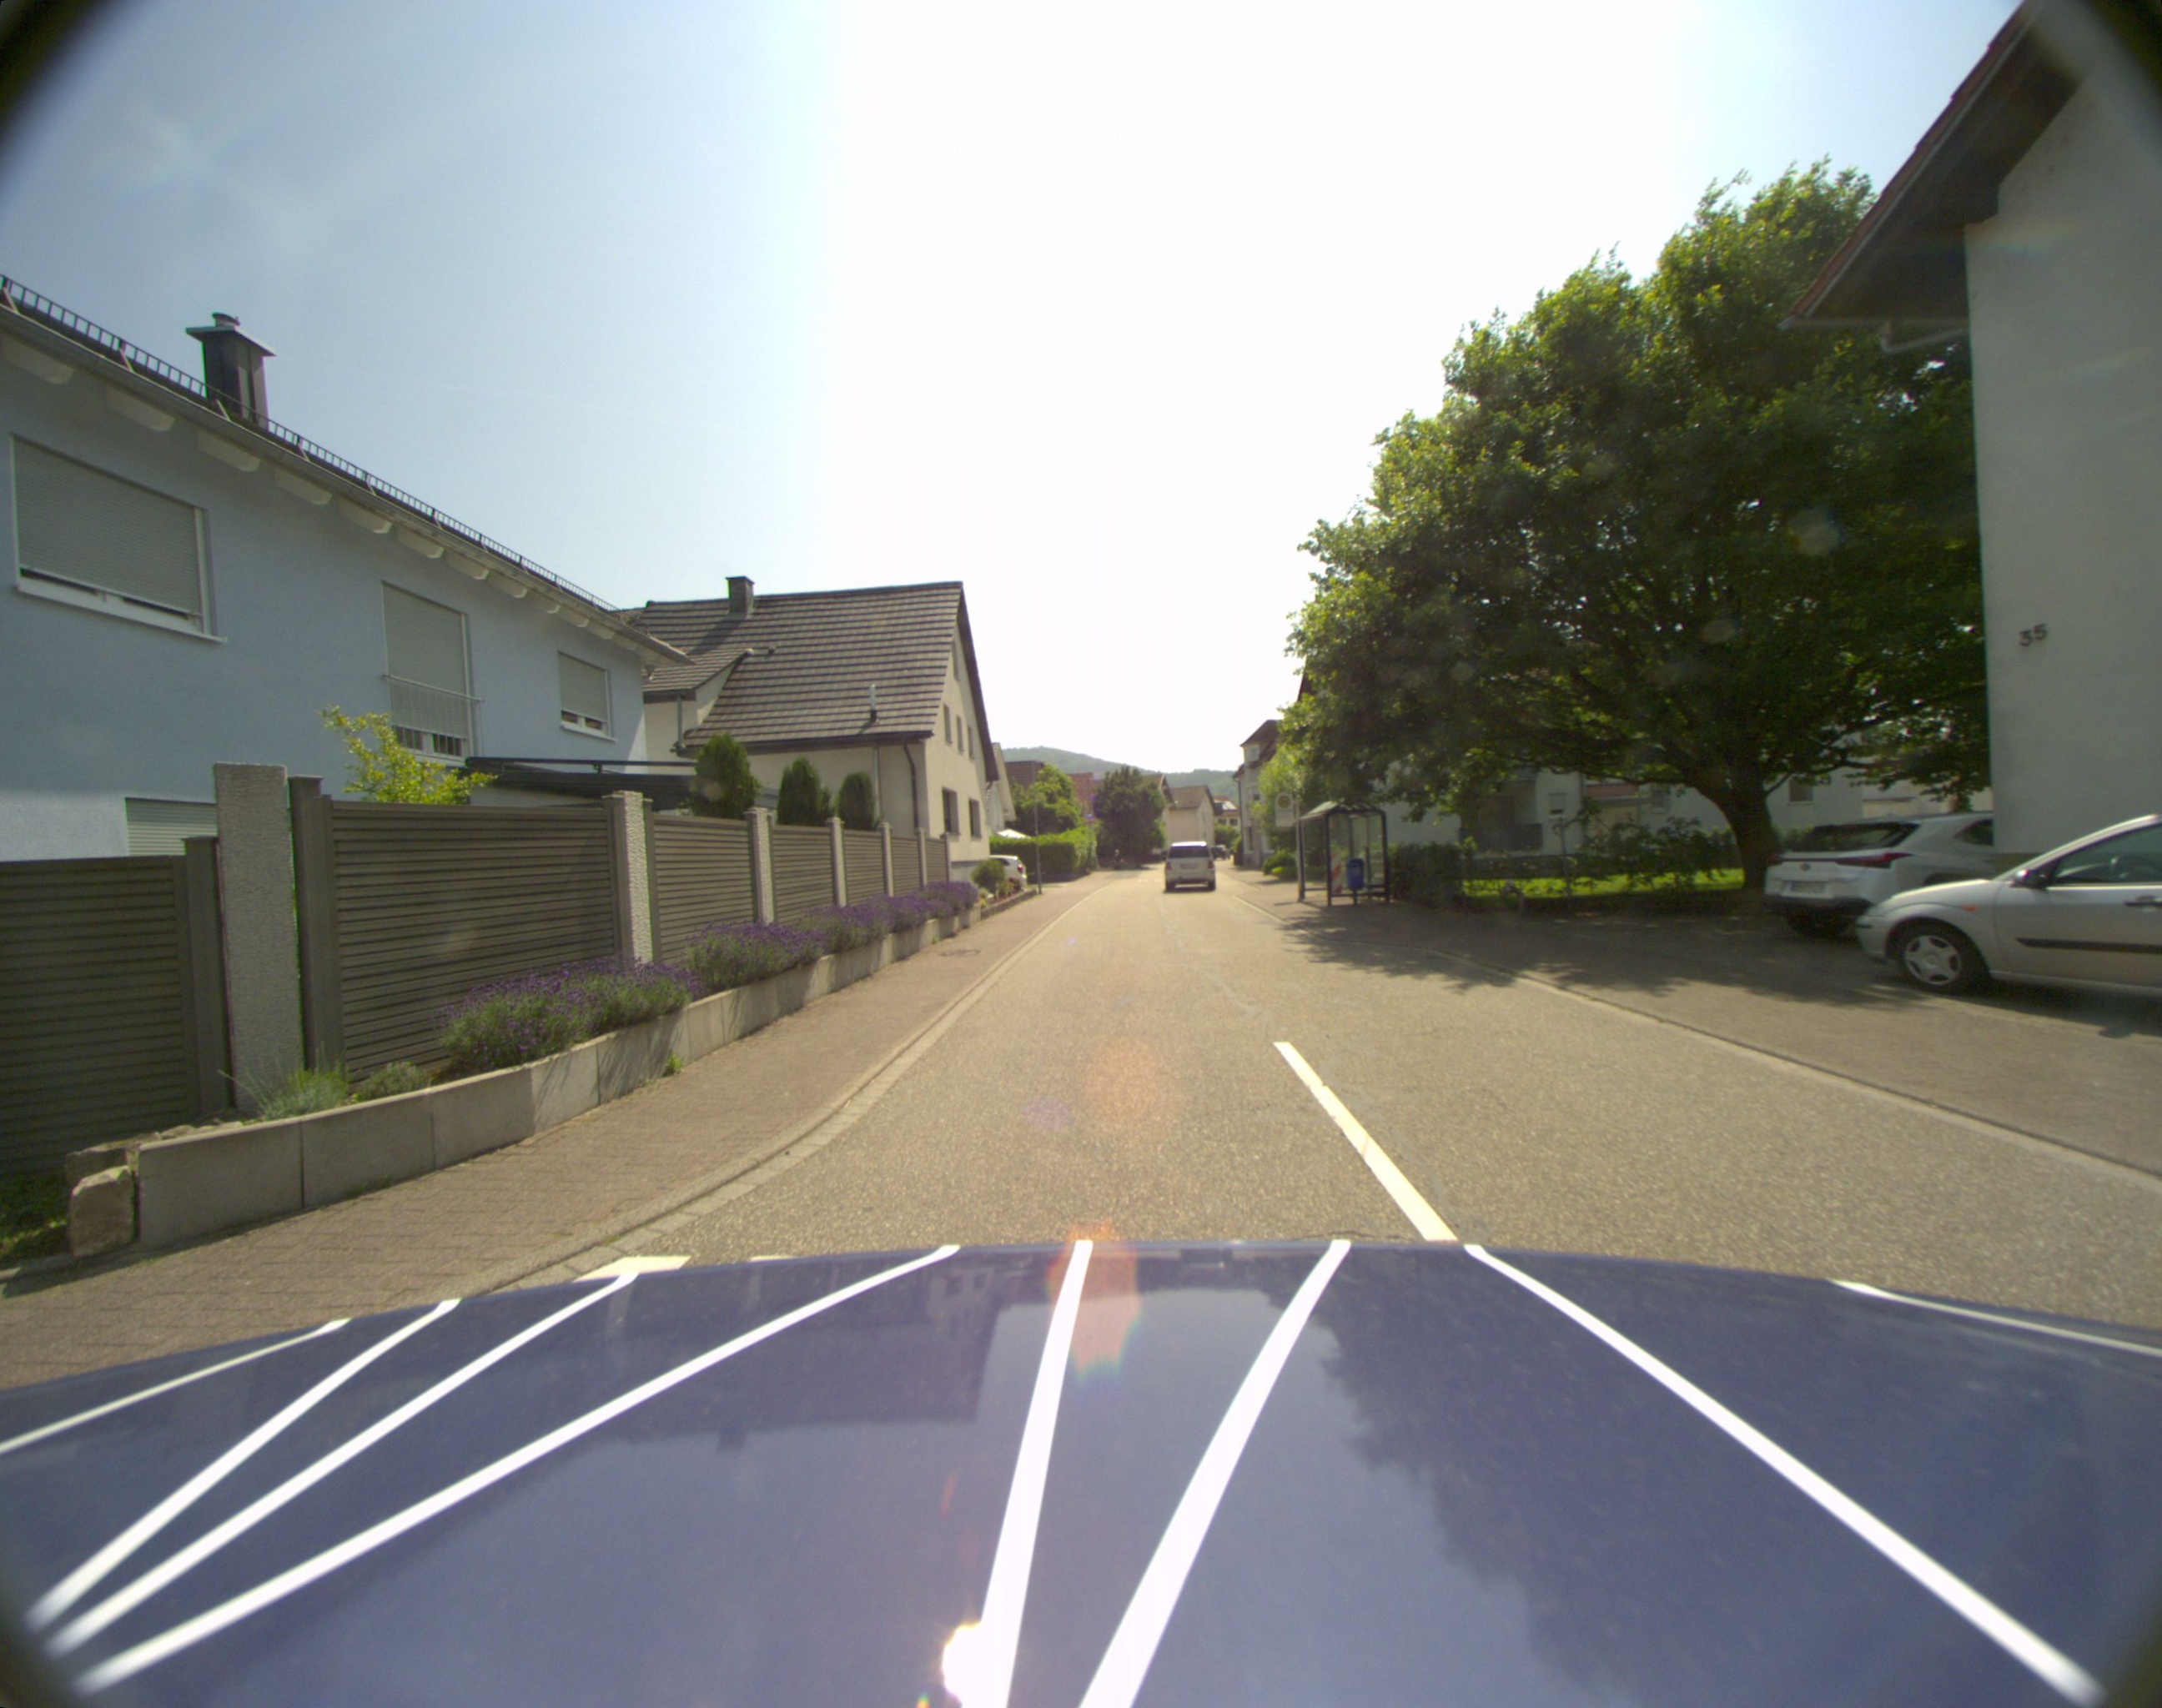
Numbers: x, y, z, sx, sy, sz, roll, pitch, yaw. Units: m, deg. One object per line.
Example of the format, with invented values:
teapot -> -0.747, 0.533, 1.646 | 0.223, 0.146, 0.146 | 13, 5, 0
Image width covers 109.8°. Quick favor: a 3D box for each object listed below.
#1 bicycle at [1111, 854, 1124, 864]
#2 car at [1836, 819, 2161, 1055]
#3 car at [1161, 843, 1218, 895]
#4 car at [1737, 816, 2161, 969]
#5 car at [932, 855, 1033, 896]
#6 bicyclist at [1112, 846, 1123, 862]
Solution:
bicycle -> 3.472, 0.492, 71.855 | 0.520, 0.899, 1.315 | -2, 1, 37
car -> 7.634, 0.493, 4.738 | 1.783, 1.426, 4.056 | -4, 0, 1
car -> 4.039, 0.504, 28.853 | 1.889, 1.757, 4.332 | -2, 1, 6
car -> 10.465, 0.389, 8.776 | 4.169, 1.529, 1.774 | -1, 0, 2
car -> -3.795, 0.822, 29.739 | 3.666, 1.466, 1.765 | -2, 0, 0
bicyclist -> 3.445, 0.010, 71.846 | 0.546, 1.481, 0.798 | -2, 2, 37
